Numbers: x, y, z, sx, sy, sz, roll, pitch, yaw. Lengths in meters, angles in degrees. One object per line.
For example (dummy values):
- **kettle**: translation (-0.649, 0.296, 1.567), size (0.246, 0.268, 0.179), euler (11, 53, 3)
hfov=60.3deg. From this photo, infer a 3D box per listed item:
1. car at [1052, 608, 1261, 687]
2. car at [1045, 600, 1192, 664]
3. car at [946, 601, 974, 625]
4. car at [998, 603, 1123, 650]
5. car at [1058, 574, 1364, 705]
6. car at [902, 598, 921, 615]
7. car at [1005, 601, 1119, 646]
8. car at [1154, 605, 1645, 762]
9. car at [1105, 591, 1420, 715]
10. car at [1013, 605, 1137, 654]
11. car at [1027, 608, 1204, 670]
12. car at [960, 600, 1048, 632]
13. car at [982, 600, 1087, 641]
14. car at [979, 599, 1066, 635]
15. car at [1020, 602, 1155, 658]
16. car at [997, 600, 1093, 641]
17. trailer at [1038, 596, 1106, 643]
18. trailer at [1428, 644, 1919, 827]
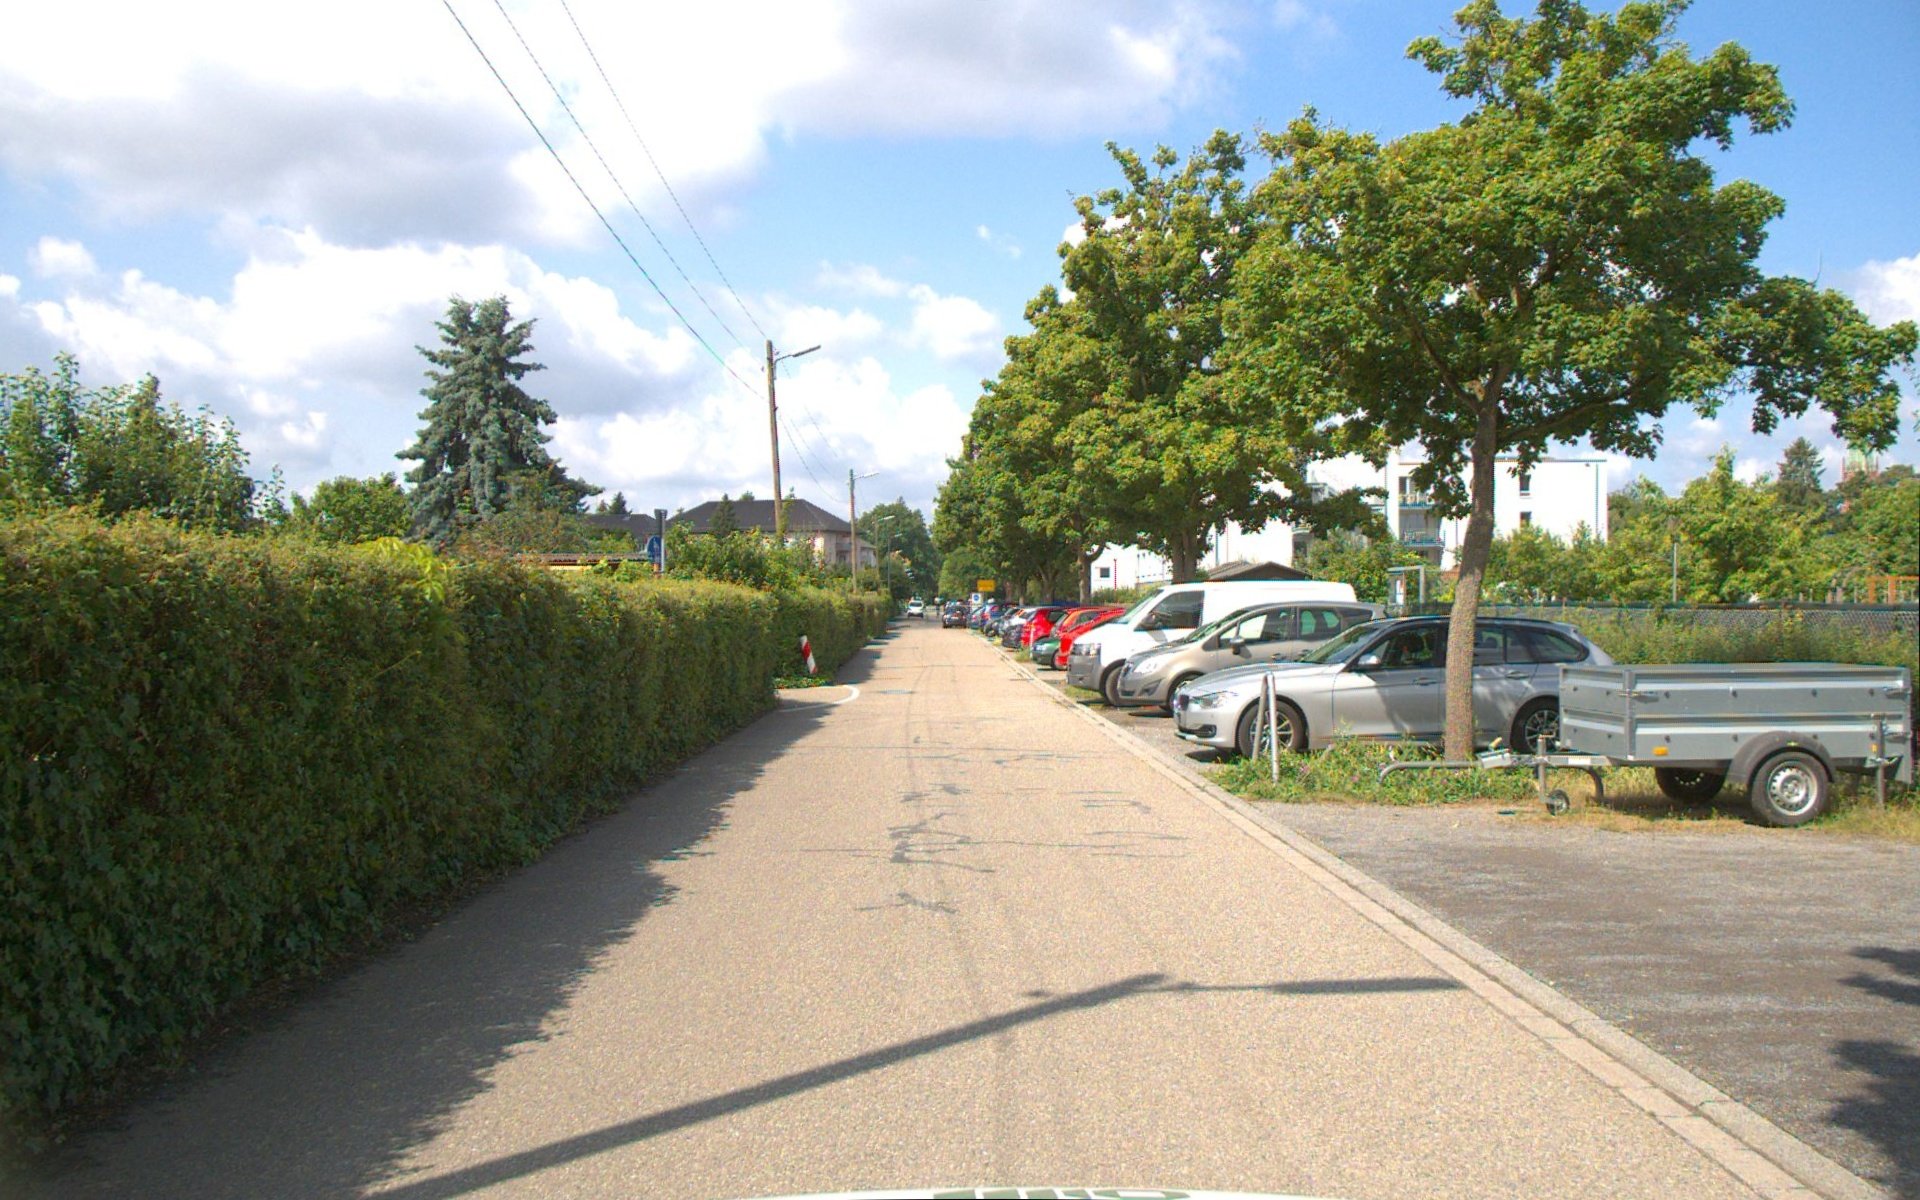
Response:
- **car**: translation (4.032, 0.966, 34.428), size (4.097, 1.530, 1.878), euler (1, -1, 0)
- **car**: translation (4.204, 0.843, 44.294), size (3.688, 1.601, 1.869), euler (1, -1, -2)
- **car**: translation (0.035, 0.887, 111.066), size (1.628, 1.532, 4.002), euler (1, -1, 4)
- **car**: translation (3.355, 0.875, 55.758), size (3.985, 1.481, 1.868), euler (1, -1, -4)
- **car**: translation (3.967, 0.610, 26.693), size (4.542, 1.919, 2.110), euler (-1, 0, -3)
- **car**: translation (-5.239, 0.713, 179.372), size (1.863, 1.846, 4.000), euler (1, -1, 1)
- **car**: translation (3.635, 0.832, 59.371), size (3.980, 1.538, 1.958), euler (1, -1, 2)
- **car**: translation (4.397, 0.807, 17.000), size (4.488, 1.491, 1.998), euler (0, 0, -5)
- **car**: translation (4.289, 0.729, 23.955), size (4.157, 1.620, 2.000), euler (-1, 0, -1)
- **car**: translation (3.618, 0.923, 52.596), size (3.829, 1.448, 1.958), euler (1, -1, 2)
- **car**: translation (3.877, 0.958, 41.561), size (4.156, 1.453, 1.906), euler (1, -1, -5)
- **car**: translation (2.290, 0.834, 86.240), size (4.457, 1.606, 1.808), euler (1, -1, -3)
- **car**: translation (3.086, 0.849, 69.024), size (4.215, 1.622, 1.999), euler (1, -1, -2)
- **car**: translation (2.993, 0.815, 79.616), size (4.070, 1.666, 1.878), euler (-1, -1, -1)
- **car**: translation (3.741, 0.890, 49.084), size (3.904, 1.546, 1.855), euler (1, -1, 2)
- **car**: translation (3.385, 0.824, 66.448), size (3.650, 1.567, 1.848), euler (1, -1, -4)
- **trailer**: translation (4.302, 0.737, 63.582), size (2.402, 1.750, 1.517), euler (1, 0, -5)
- **trailer**: translation (5.291, 0.957, 12.286), size (3.037, 1.162, 1.999), euler (1, -1, -1)
